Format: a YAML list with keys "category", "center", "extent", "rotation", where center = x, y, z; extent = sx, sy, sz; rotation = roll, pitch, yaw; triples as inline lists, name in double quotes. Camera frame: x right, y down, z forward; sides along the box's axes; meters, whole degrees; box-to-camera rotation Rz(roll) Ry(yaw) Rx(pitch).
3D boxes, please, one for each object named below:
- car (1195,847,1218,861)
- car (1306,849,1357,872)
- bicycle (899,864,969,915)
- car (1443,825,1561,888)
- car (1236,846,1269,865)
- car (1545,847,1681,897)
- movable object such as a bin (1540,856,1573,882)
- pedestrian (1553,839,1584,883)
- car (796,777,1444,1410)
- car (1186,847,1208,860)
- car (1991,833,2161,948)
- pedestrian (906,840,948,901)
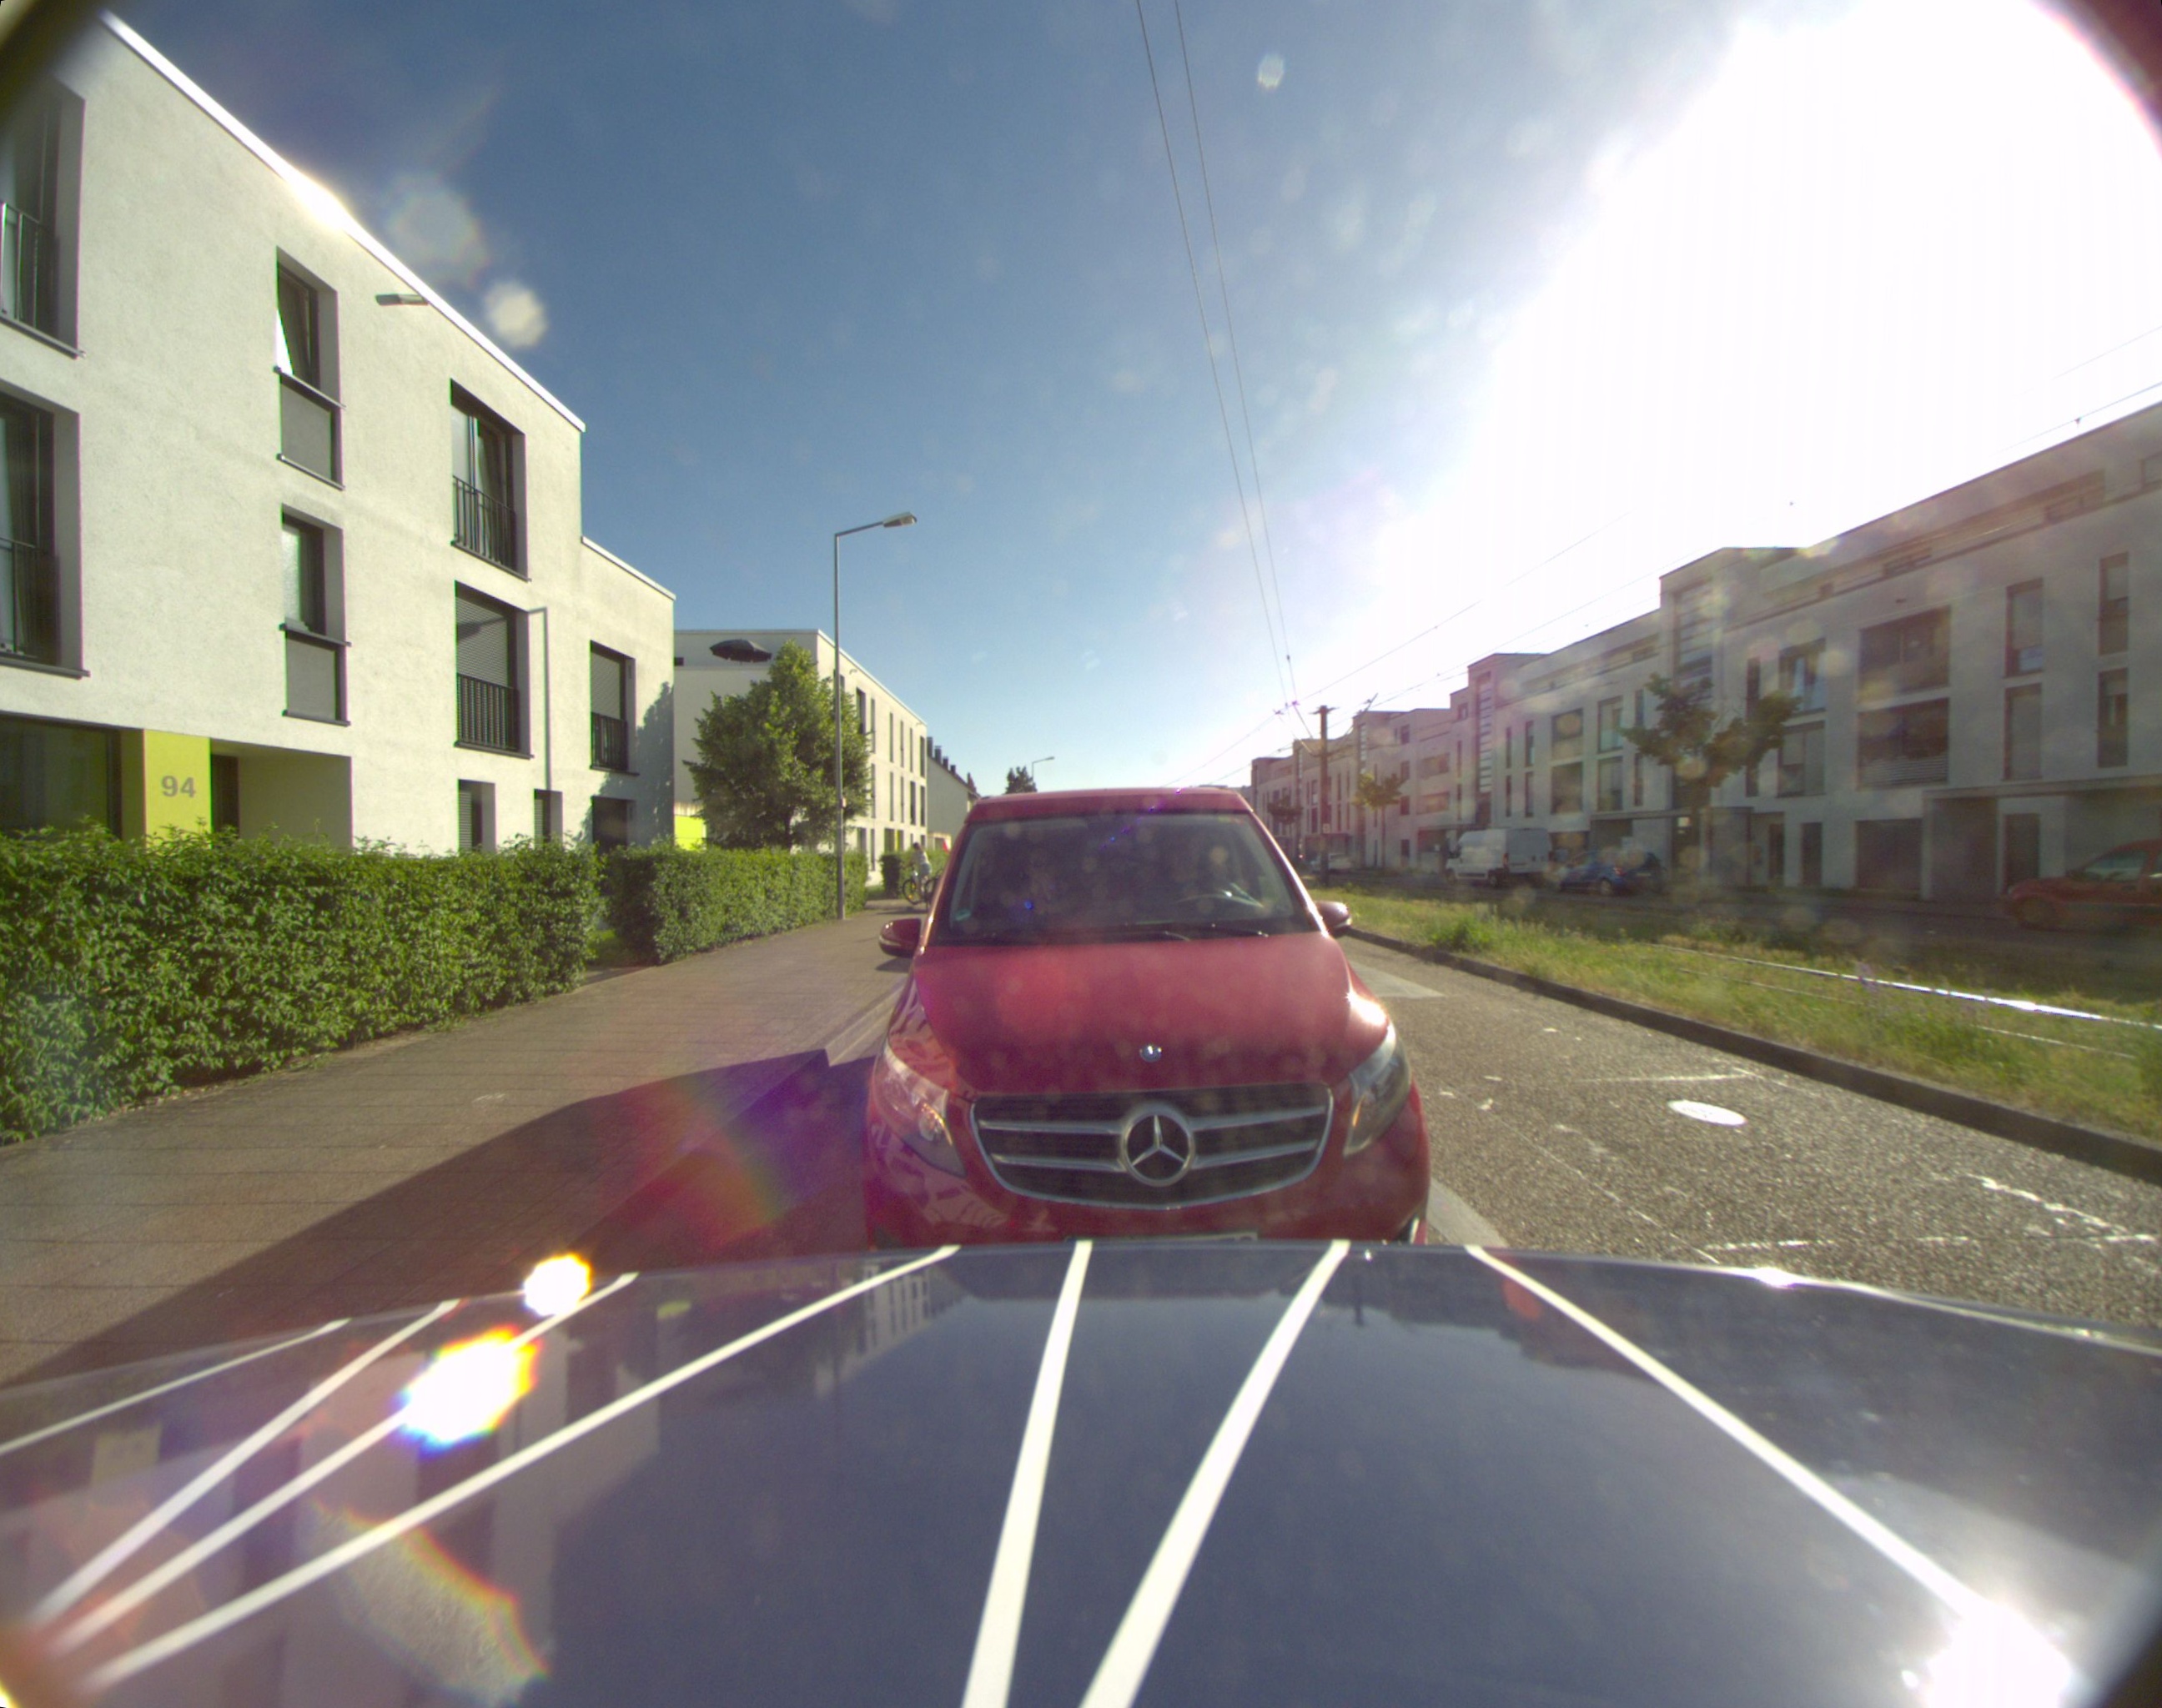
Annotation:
- category: "car"
  center: [15.469, -0.041, 93.889]
  extent: [1.923, 1.671, 4.282]
  rotation: [-2, 1, -4]
- category: "car"
  center: [17.631, 0.413, 53.723]
  extent: [1.923, 1.497, 4.282]
  rotation: [-2, 1, -4]
- category: "bicycle"
  center: [-3.898, 0.880, 19.907]
  extent: [0.933, 1.166, 3.118]
  rotation: [0, 1, -28]
- category: "car"
  center: [18.167, 0.074, 33.154]
  extent: [2.225, 2.458, 5.195]
  rotation: [-2, 1, 0]
- category: "car"
  center: [16.715, 0.131, 74.338]
  extent: [1.923, 1.671, 4.282]
  rotation: [-2, 1, -4]
- category: "car"
  center: [18.374, 0.575, 26.483]
  extent: [1.999, 1.536, 3.835]
  rotation: [-2, 1, 0]
- category: "movable object such as a bin"
  center: [20.601, 0.649, 32.951]
  extent: [0.729, 1.048, 1.083]
  rotation: [-2, 1, 1]
- category: "pedestrian"
  center: [20.549, 0.282, 32.031]
  extent: [0.776, 1.812, 0.785]
  rotation: [-2, 1, 1]
- category: "car"
  center: [0.151, 0.702, 4.527]
  extent: [1.874, 1.843, 4.506]
  rotation: [-2, 1, 1]
- category: "car"
  center: [15.182, -0.063, 99.641]
  extent: [1.923, 1.671, 4.282]
  rotation: [-2, 1, -4]
- category: "car"
  center: [18.615, 0.579, 12.792]
  extent: [1.998, 1.817, 3.895]
  rotation: [-2, 1, 3]
- category: "pedestrian"
  center: [-4.138, 0.424, 20.373]
  extent: [0.915, 1.585, 0.852]
  rotation: [0, 1, -28]
